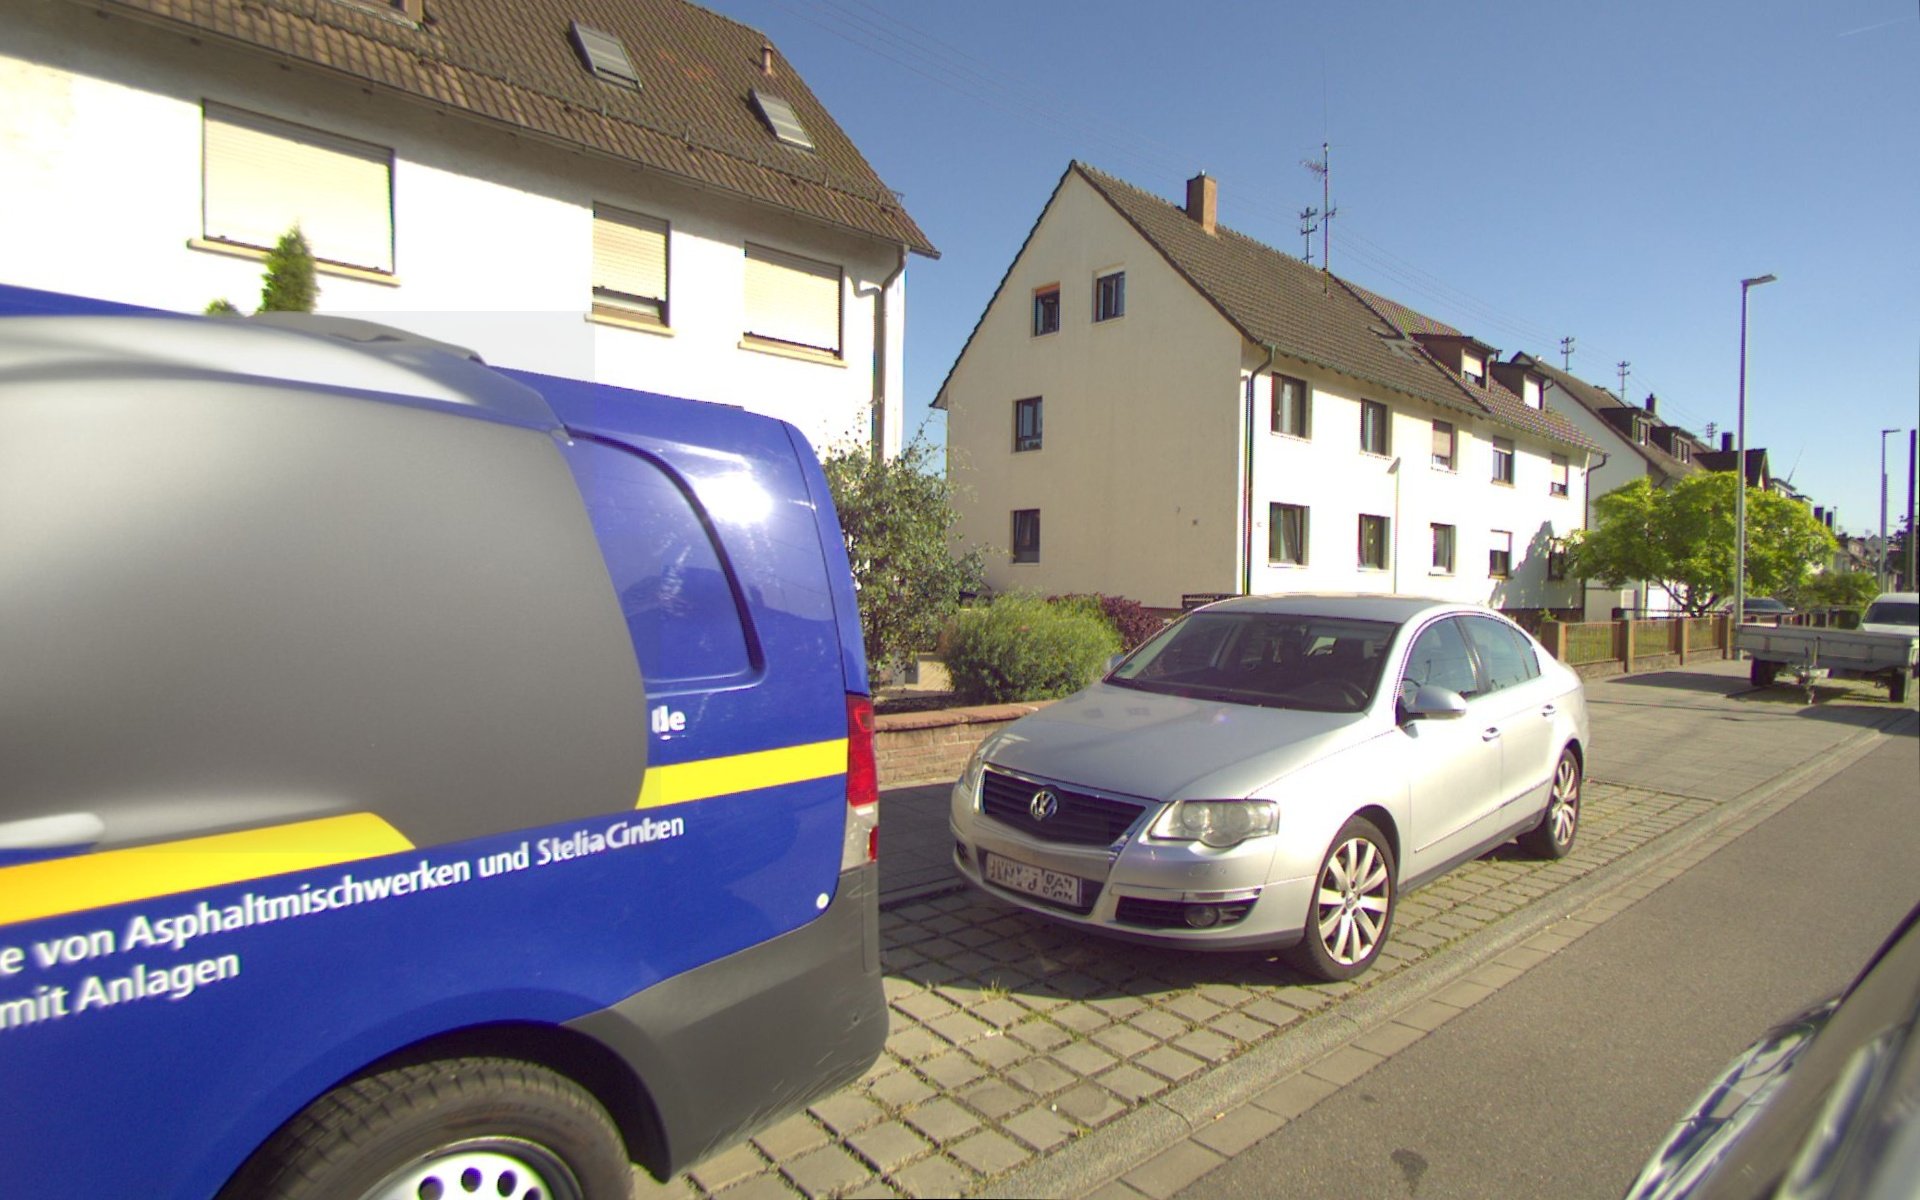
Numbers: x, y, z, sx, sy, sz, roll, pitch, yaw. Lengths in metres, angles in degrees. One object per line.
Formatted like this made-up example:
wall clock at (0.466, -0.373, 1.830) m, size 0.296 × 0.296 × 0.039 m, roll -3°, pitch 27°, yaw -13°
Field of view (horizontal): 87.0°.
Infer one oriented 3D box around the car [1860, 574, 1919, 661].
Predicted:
car at (21.969, 0.381, 23.015) m, size 4.507 × 1.784 × 1.794 m, roll 0°, pitch 4°, yaw -43°

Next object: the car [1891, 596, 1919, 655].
car at (26.522, 0.663, 27.146) m, size 4.365 × 1.488 × 1.826 m, roll 0°, pitch 1°, yaw -41°

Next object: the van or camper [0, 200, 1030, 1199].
van or camper at (-2.543, 0.431, 1.293) m, size 5.486 × 1.869 × 1.953 m, roll -1°, pitch 2°, yaw -41°

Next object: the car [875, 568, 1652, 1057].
car at (2.103, 0.615, 5.507) m, size 5.198 × 1.477 × 1.732 m, roll 0°, pitch 2°, yaw -44°

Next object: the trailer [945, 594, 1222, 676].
trailer at (2.104, 0.541, 18.761) m, size 2.096 × 1.170 × 5.133 m, roll -1°, pitch 2°, yaw -38°

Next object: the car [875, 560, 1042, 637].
car at (-0.116, -0.084, 24.206) m, size 1.874 × 1.660 × 3.995 m, roll 0°, pitch 1°, yaw -40°

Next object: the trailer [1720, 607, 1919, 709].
trailer at (14.304, 0.790, 16.304) m, size 6.330 × 1.144 × 2.275 m, roll 0°, pitch 4°, yaw -44°
